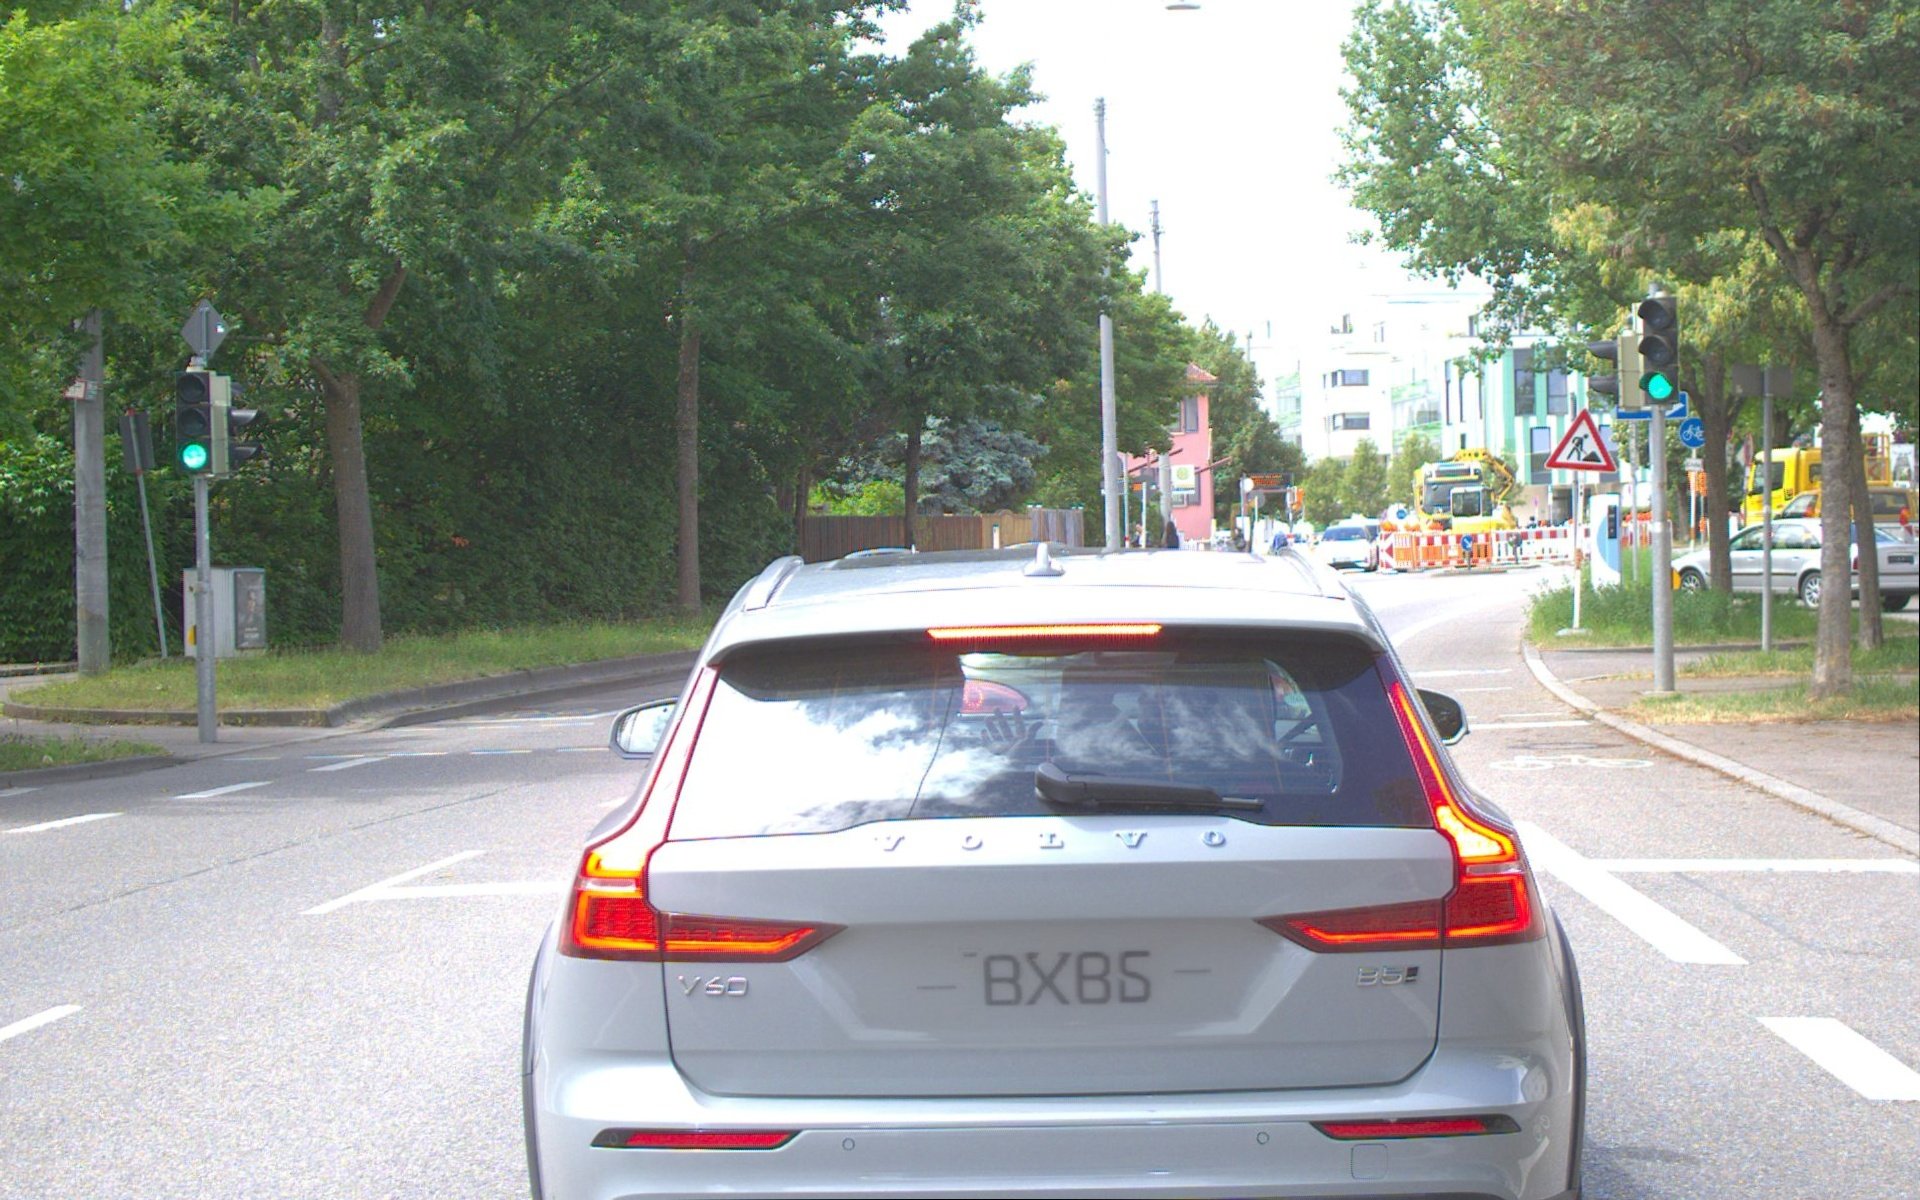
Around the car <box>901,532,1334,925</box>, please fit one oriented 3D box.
[{"bbox_3d":[0.692,0.493,15.363,1.661,1.503,3.702,1,0,2],"label":"car"}]

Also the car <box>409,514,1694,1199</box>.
[{"bbox_3d":[0.190,0.608,7.194,1.928,1.535,4.000,-1,1,2],"label":"car"}]

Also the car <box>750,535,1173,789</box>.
[{"bbox_3d":[0.118,0.363,22.788,2.103,1.505,3.998,1,0,10],"label":"car"}]

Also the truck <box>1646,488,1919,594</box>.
[{"bbox_3d":[16.537,-1.169,68.817,1.994,2.007,5.677,1,0,-35],"label":"truck"}]

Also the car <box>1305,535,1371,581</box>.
[{"bbox_3d":[11.857,-1.308,107.731,1.829,1.325,3.998,1,-1,9],"label":"car"}]

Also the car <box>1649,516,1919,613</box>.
[{"bbox_3d":[13.155,-0.578,54.204,1.762,1.447,4.689,-1,2,-32],"label":"car"}]

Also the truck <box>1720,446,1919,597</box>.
[{"bbox_3d":[19.099,-1.574,70.550,2.761,2.998,6.706,1,0,-34],"label":"truck"}]

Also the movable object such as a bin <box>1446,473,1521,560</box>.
[{"bbox_3d":[16.638,-2.660,109.126,2.035,2.634,5.937,-2,1,11],"label":"movable object such as a bin"}]
